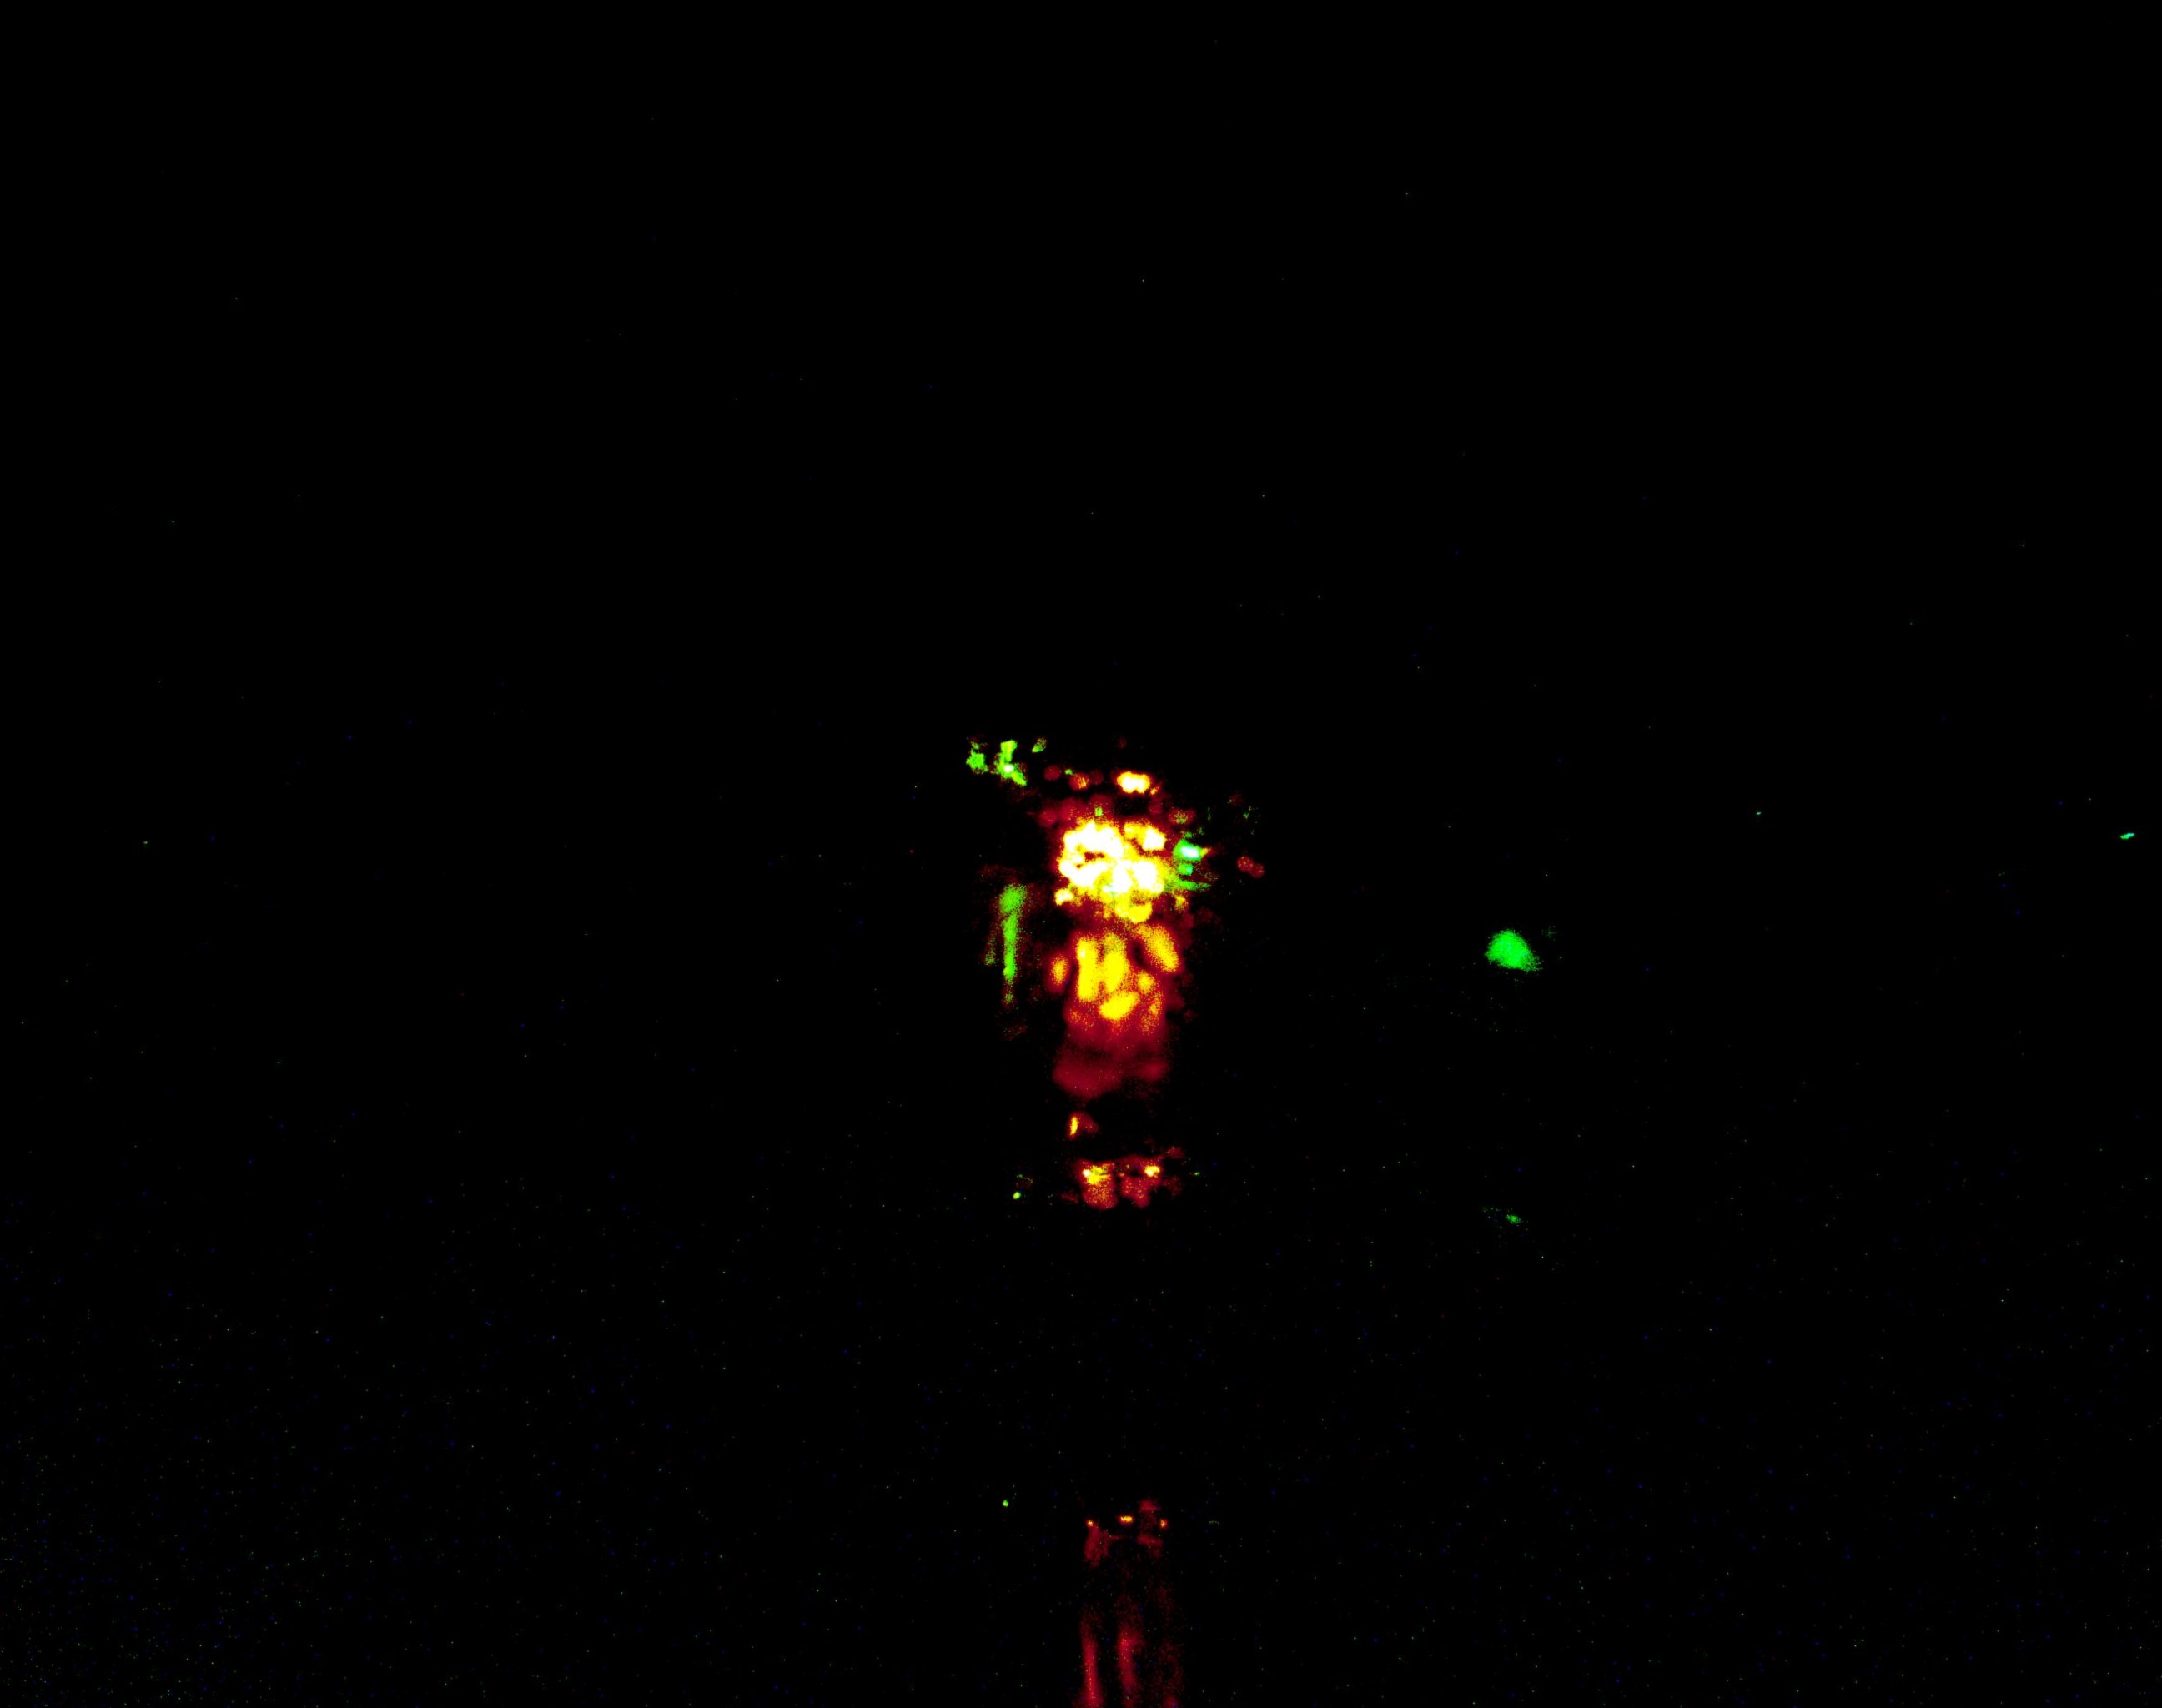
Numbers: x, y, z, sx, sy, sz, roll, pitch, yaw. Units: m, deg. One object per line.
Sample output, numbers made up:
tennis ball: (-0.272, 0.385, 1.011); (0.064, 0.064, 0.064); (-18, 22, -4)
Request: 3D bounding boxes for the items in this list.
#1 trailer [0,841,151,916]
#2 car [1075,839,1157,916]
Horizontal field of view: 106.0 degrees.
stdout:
trailer: (-32.420, 0.804, 26.247); (3.765, 2.218, 1.984); (-3, -2, 20)
car: (0.922, 0.513, 19.894); (1.783, 1.681, 3.909); (-1, 0, 4)
